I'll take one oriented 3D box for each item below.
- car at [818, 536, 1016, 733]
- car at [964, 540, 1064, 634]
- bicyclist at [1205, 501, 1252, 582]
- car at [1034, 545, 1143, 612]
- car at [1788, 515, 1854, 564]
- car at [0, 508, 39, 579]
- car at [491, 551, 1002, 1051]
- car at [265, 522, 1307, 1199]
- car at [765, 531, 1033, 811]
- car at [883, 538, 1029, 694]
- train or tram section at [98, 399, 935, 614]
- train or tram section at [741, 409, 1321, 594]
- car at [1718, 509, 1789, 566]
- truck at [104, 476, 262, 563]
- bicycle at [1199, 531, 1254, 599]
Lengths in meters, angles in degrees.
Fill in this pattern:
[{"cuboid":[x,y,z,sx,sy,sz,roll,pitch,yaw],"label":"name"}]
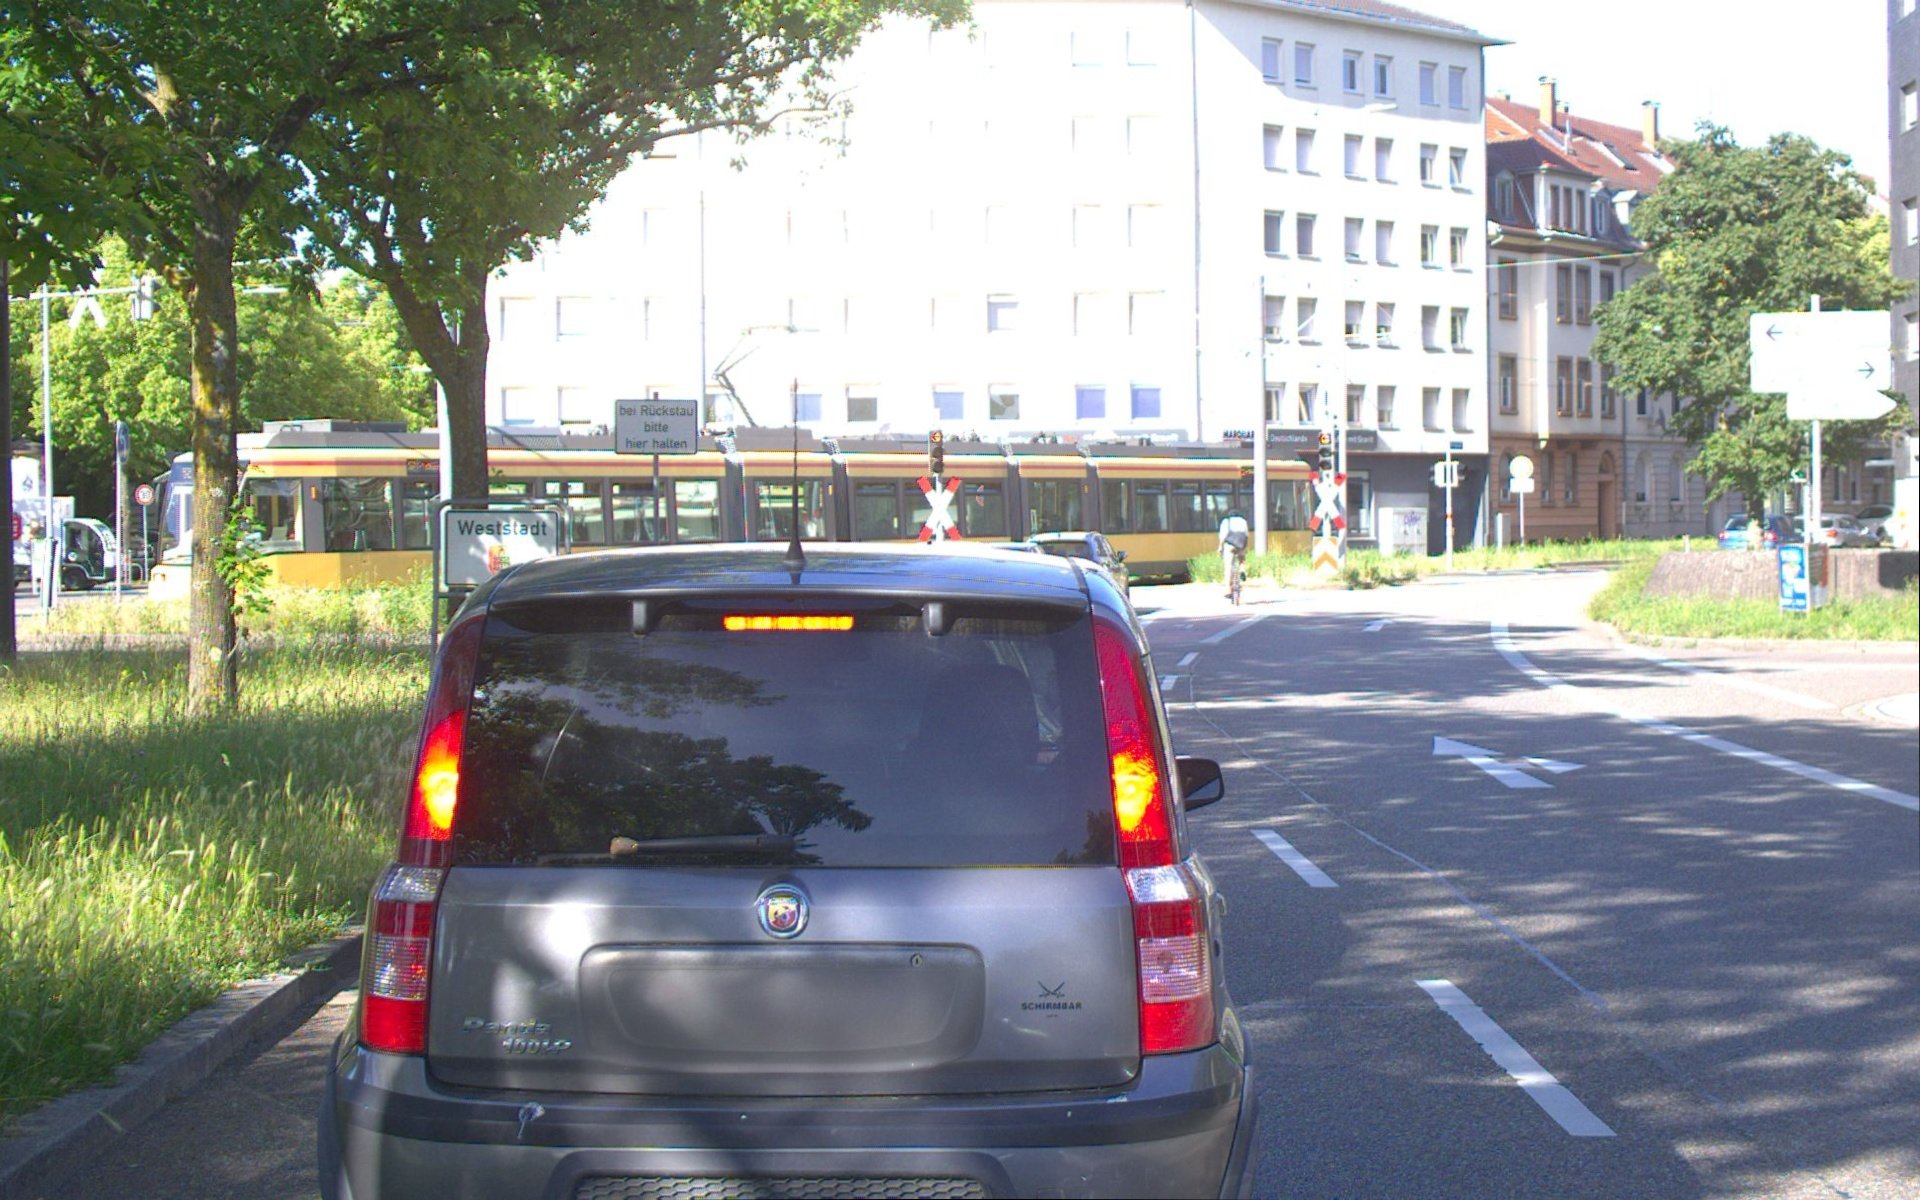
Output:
[{"cuboid":[-0.340,0.223,27.245,1.463,1.420,3.381,0,2,-1],"label":"car"},{"cuboid":[0.753,-0.210,49.595,1.356,1.277,2.876,0,1,-1],"label":"car"},{"cuboid":[4.852,-1.055,62.230,0.741,1.433,0.845,1,0,-2],"label":"bicyclist"},{"cuboid":[2.175,-0.368,57.669,1.143,1.060,2.719,0,1,17],"label":"car"},{"cuboid":[23.559,-1.657,94.019,1.528,1.310,3.285,0,1,18],"label":"car"},{"cuboid":[-28.579,-1.597,97.967,4.176,2.007,1.932,-1,1,-2],"label":"car"},{"cuboid":[-0.635,0.558,11.639,1.463,1.396,3.393,0,1,-1],"label":"car"},{"cuboid":[-0.292,0.596,7.418,1.628,1.503,4.000,-1,1,-1],"label":"car"},{"cuboid":[-0.353,0.355,20.669,1.463,1.503,3.505,0,2,-1],"label":"car"},{"cuboid":[-0.055,0.123,33.862,1.356,1.444,3.266,-1,1,-1],"label":"car"},{"cuboid":[-7.541,-1.782,64.979,3.302,3.501,19.345,0,2,36],"label":"train or tram section"},{"cuboid":[2.317,-2.274,79.629,3.301,3.757,20.773,0,2,32],"label":"train or tram section"},{"cuboid":[20.882,-1.654,90.391,1.683,1.444,3.569,0,1,15],"label":"car"},{"cuboid":[-28.880,-2.989,127.772,5.485,3.158,2.340,0,1,28],"label":"truck"},{"cuboid":[4.834,-0.639,62.495,0.708,1.194,2.520,1,1,-2],"label":"bicycle"}]
